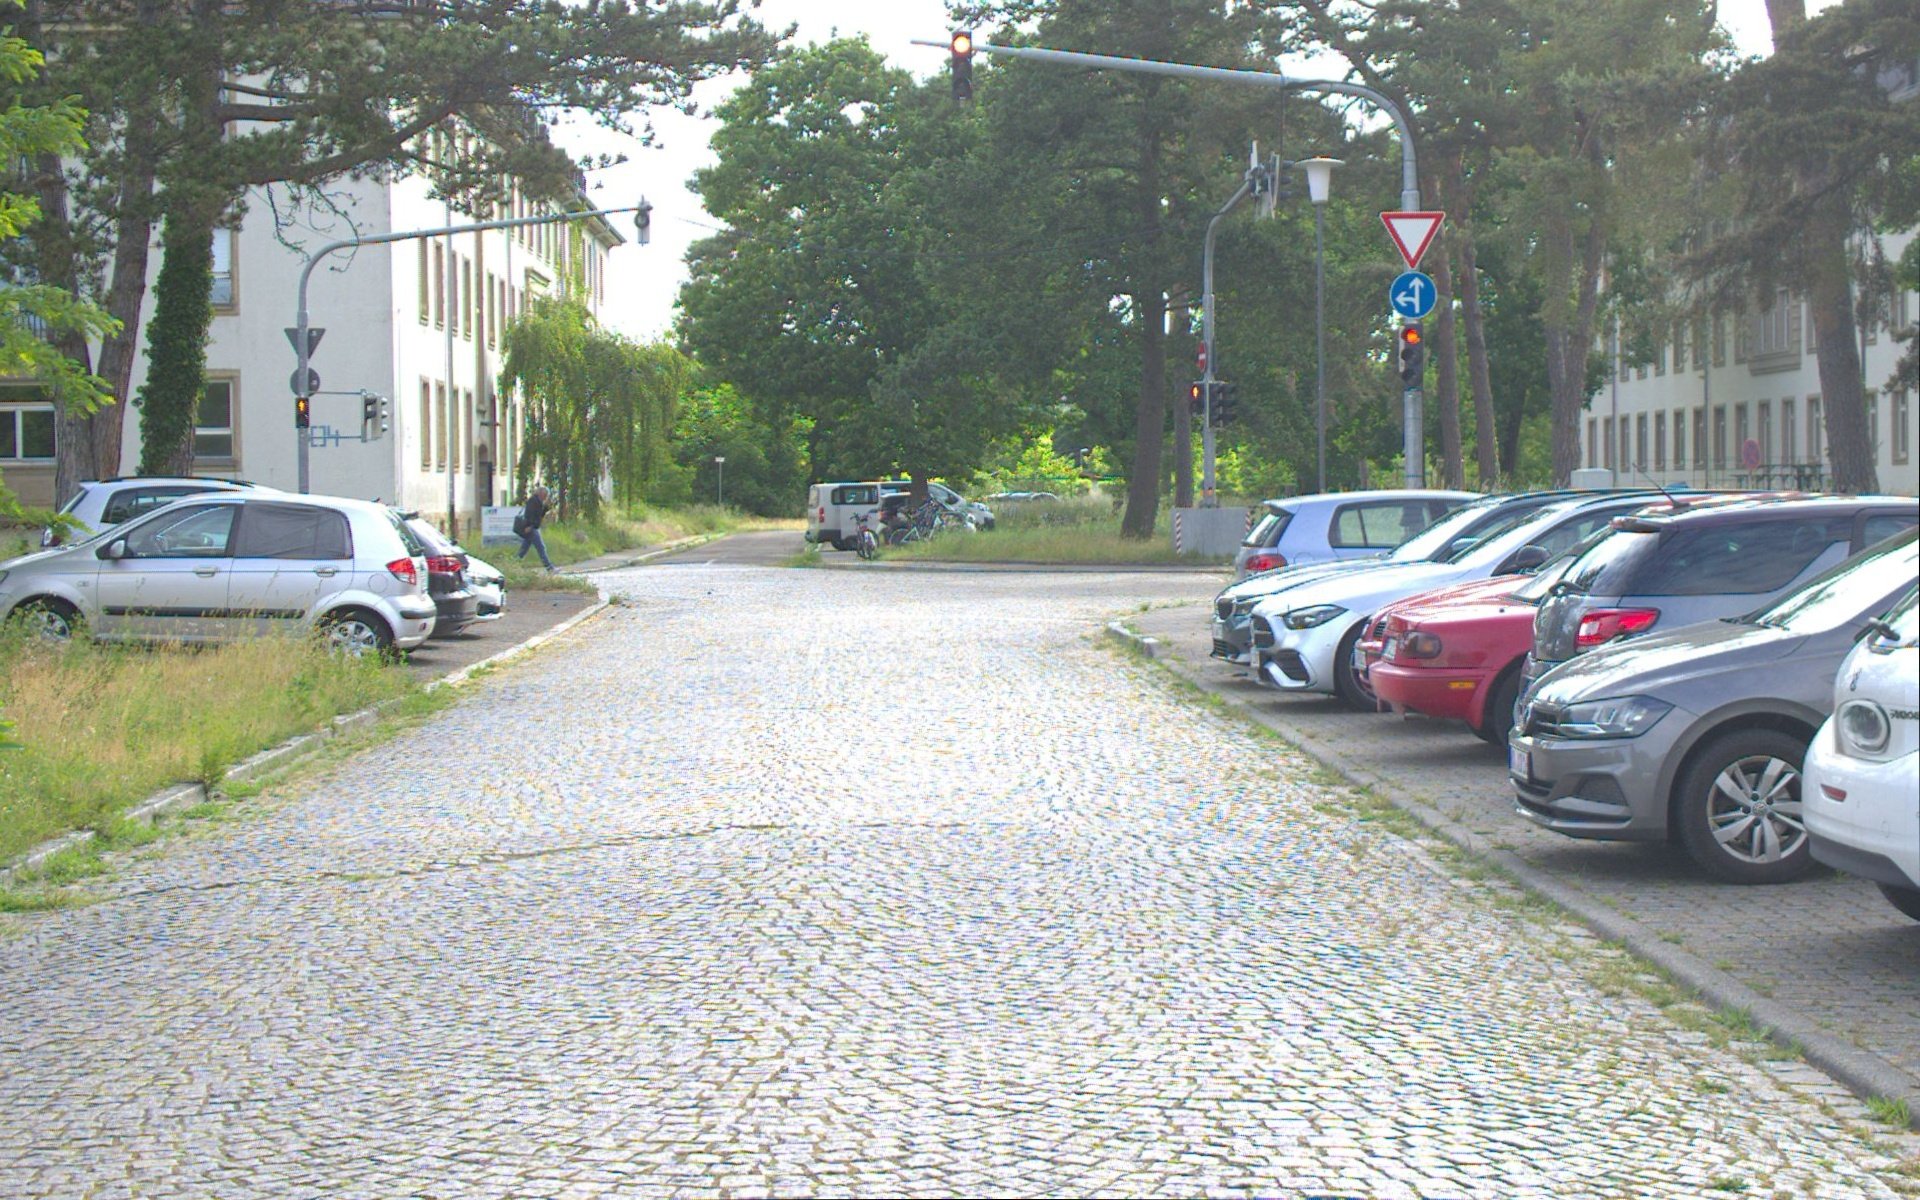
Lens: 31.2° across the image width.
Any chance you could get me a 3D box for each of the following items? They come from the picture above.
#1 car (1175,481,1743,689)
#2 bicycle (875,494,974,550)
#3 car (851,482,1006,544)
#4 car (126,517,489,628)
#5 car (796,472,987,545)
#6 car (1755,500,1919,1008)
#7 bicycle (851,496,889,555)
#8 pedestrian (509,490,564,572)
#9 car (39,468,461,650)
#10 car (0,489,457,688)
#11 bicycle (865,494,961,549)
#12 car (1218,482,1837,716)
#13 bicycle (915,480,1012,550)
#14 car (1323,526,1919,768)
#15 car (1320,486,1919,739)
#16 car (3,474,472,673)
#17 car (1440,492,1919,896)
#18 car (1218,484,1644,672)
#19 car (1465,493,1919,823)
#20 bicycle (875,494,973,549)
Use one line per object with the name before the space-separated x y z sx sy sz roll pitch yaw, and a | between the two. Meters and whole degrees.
car | 3.879 -0.148 27.053 4.122 1.538 1.665 -1 2 -7
bicycle | -0.809 -1.795 78.488 2.160 1.264 0.813 0 2 -8
car | -0.861 -2.366 93.029 3.986 1.638 2.001 0 2 -7
car | -6.826 -0.307 36.260 3.670 1.090 1.647 -1 2 -8
car | -1.928 -2.581 96.278 5.049 2.006 2.001 0 2 -12
car | 4.445 0.422 11.162 3.292 1.499 1.664 -1 2 -4
bicycle | -1.949 -1.633 74.703 0.810 1.264 1.973 0 2 -1
pedestrian | -7.742 -1.273 62.885 0.898 1.493 0.904 0 2 -1
car | -6.971 -0.438 34.126 3.986 1.744 1.928 0 2 -8
car | -6.215 -0.129 28.576 3.986 1.546 2.001 -1 2 -8
bicycle | -1.106 -1.836 80.282 2.160 1.264 0.813 0 2 -8
car | 3.950 -0.043 24.240 3.986 1.538 1.665 -1 2 -7
bicycle | 0.078 -1.984 79.802 2.160 1.610 0.813 0 2 -8
car | 3.894 0.237 19.763 3.291 1.263 1.665 -1 2 -7
car | 4.447 0.041 22.020 3.986 1.538 1.664 0 2 -7
car | -6.440 -0.276 31.058 3.986 1.700 2.001 -1 2 -8
car | 3.974 0.314 14.169 3.597 1.501 1.665 -1 2 -12
car | 4.029 -0.216 29.627 3.388 1.538 1.391 -1 2 -7
car | 4.358 0.231 17.056 3.291 1.499 1.665 -1 2 -12
bicycle | -0.831 -1.807 79.075 2.160 1.264 0.813 0 2 -8
